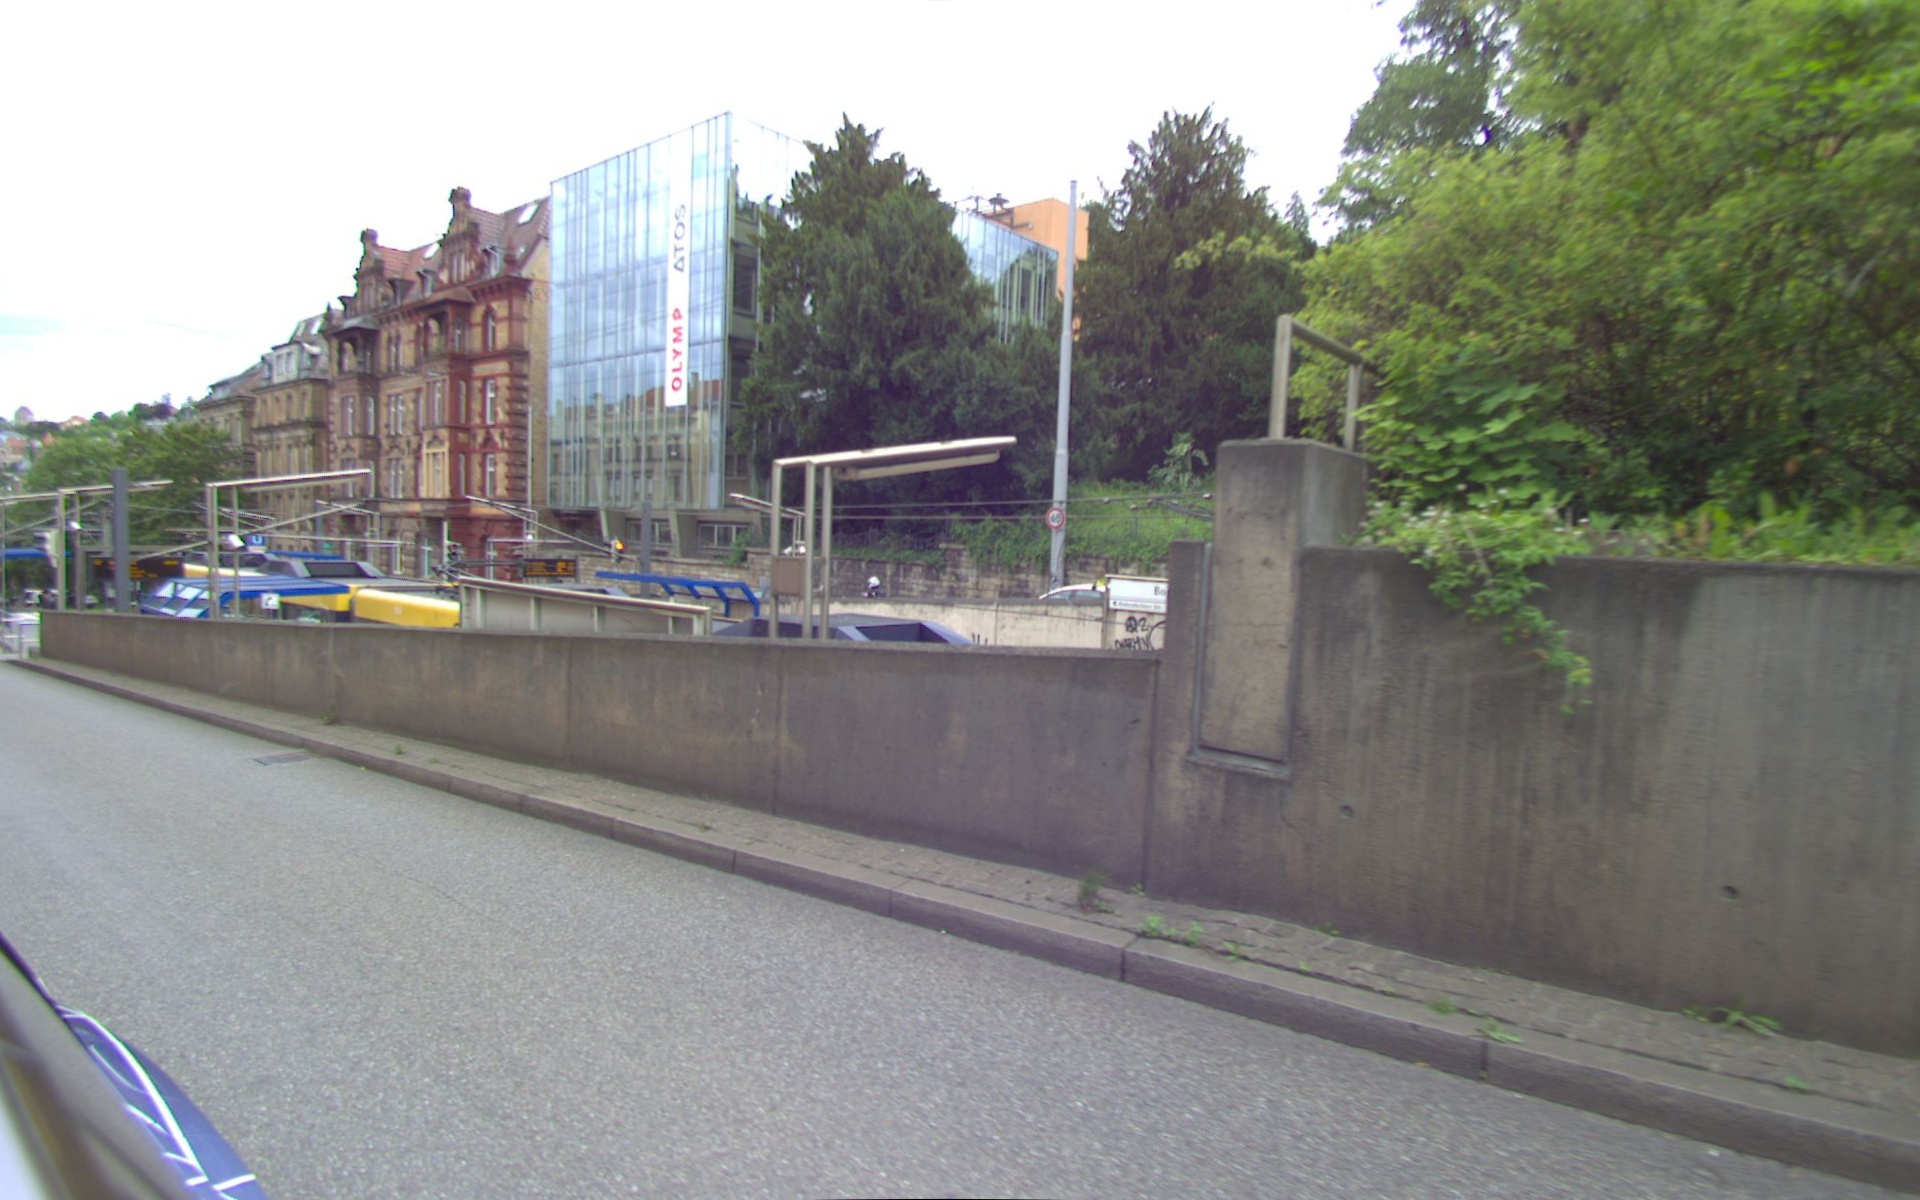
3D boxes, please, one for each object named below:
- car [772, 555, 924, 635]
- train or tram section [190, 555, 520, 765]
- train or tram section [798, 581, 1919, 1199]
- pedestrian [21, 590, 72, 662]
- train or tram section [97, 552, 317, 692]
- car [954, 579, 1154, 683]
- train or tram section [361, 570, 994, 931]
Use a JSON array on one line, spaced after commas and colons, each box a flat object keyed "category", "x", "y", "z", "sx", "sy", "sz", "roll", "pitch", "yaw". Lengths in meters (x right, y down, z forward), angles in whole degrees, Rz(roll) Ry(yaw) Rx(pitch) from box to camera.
[{"category": "car", "x": -3.132, "y": -0.118, "z": 27.866, "sx": 3.998, "sy": 2.029, "sz": 1.973, "roll": -1, "pitch": 0, "yaw": 41}, {"category": "train or tram section", "x": -14.416, "y": 0.883, "z": 23.316, "sx": 12.215, "sy": 3.497, "sz": 2.919, "roll": 4, "pitch": 3, "yaw": 41}, {"category": "train or tram section", "x": 4.226, "y": 1.695, "z": 7.211, "sx": 12.978, "sy": 3.535, "sz": 2.919, "roll": 2, "pitch": 1, "yaw": 40}, {"category": "pedestrian", "x": -23.606, "y": 0.654, "z": 26.148, "sx": 0.801, "sy": 1.790, "sz": 0.808, "roll": -1, "pitch": 1, "yaw": 37}, {"category": "train or tram section", "x": -23.676, "y": 0.351, "z": 31.401, "sx": 12.393, "sy": 3.569, "sz": 2.919, "roll": 3, "pitch": 3, "yaw": 41}, {"category": "car", "x": 2.048, "y": 0.594, "z": 22.462, "sx": 3.996, "sy": 2.028, "sz": 1.974, "roll": 1, "pitch": 3, "yaw": 39}, {"category": "train or tram section", "x": -5.178, "y": 1.391, "z": 15.314, "sx": 12.211, "sy": 3.509, "sz": 2.919, "roll": 2, "pitch": 2, "yaw": 40}]
